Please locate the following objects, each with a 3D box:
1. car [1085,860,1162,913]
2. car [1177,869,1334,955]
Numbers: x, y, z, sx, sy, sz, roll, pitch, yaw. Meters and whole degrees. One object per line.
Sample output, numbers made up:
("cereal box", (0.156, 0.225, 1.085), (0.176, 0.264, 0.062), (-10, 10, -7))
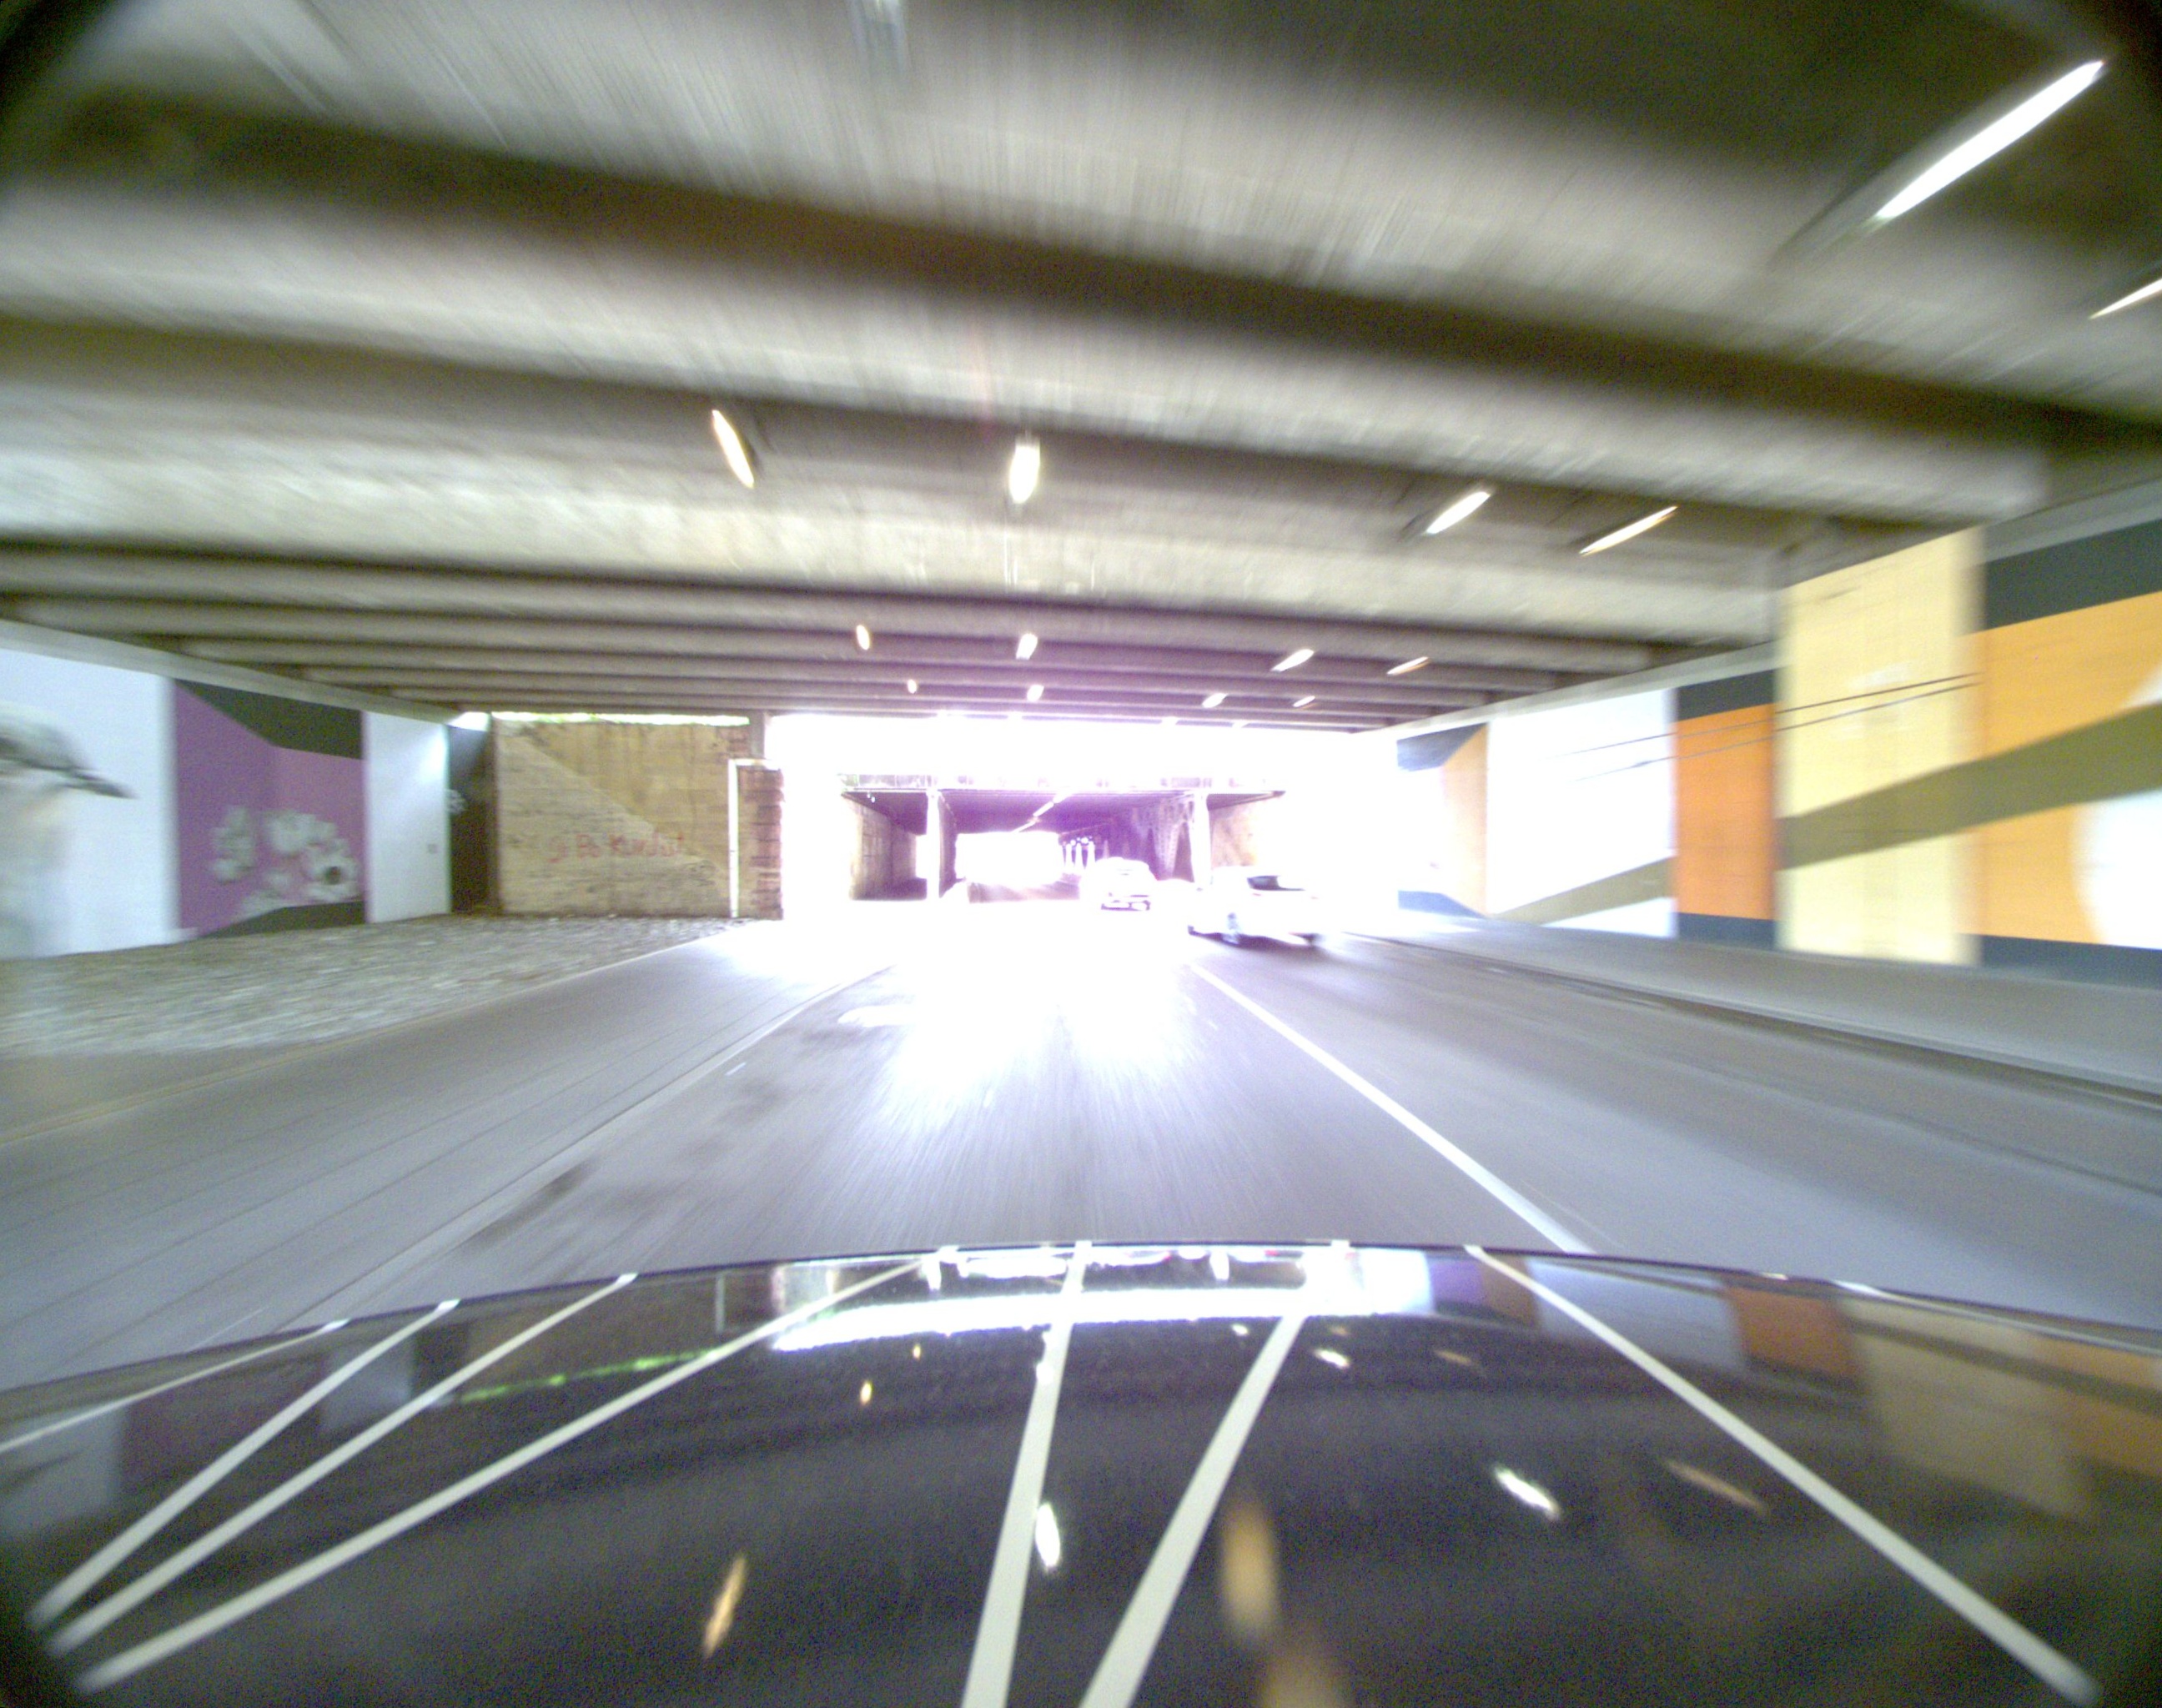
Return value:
("car", (1.348, 1.046, 26.006), (1.831, 1.644, 4.211), (0, 0, -8))
("car", (3.299, 1.036, 15.168), (1.677, 1.439, 3.849), (0, 0, -10))
